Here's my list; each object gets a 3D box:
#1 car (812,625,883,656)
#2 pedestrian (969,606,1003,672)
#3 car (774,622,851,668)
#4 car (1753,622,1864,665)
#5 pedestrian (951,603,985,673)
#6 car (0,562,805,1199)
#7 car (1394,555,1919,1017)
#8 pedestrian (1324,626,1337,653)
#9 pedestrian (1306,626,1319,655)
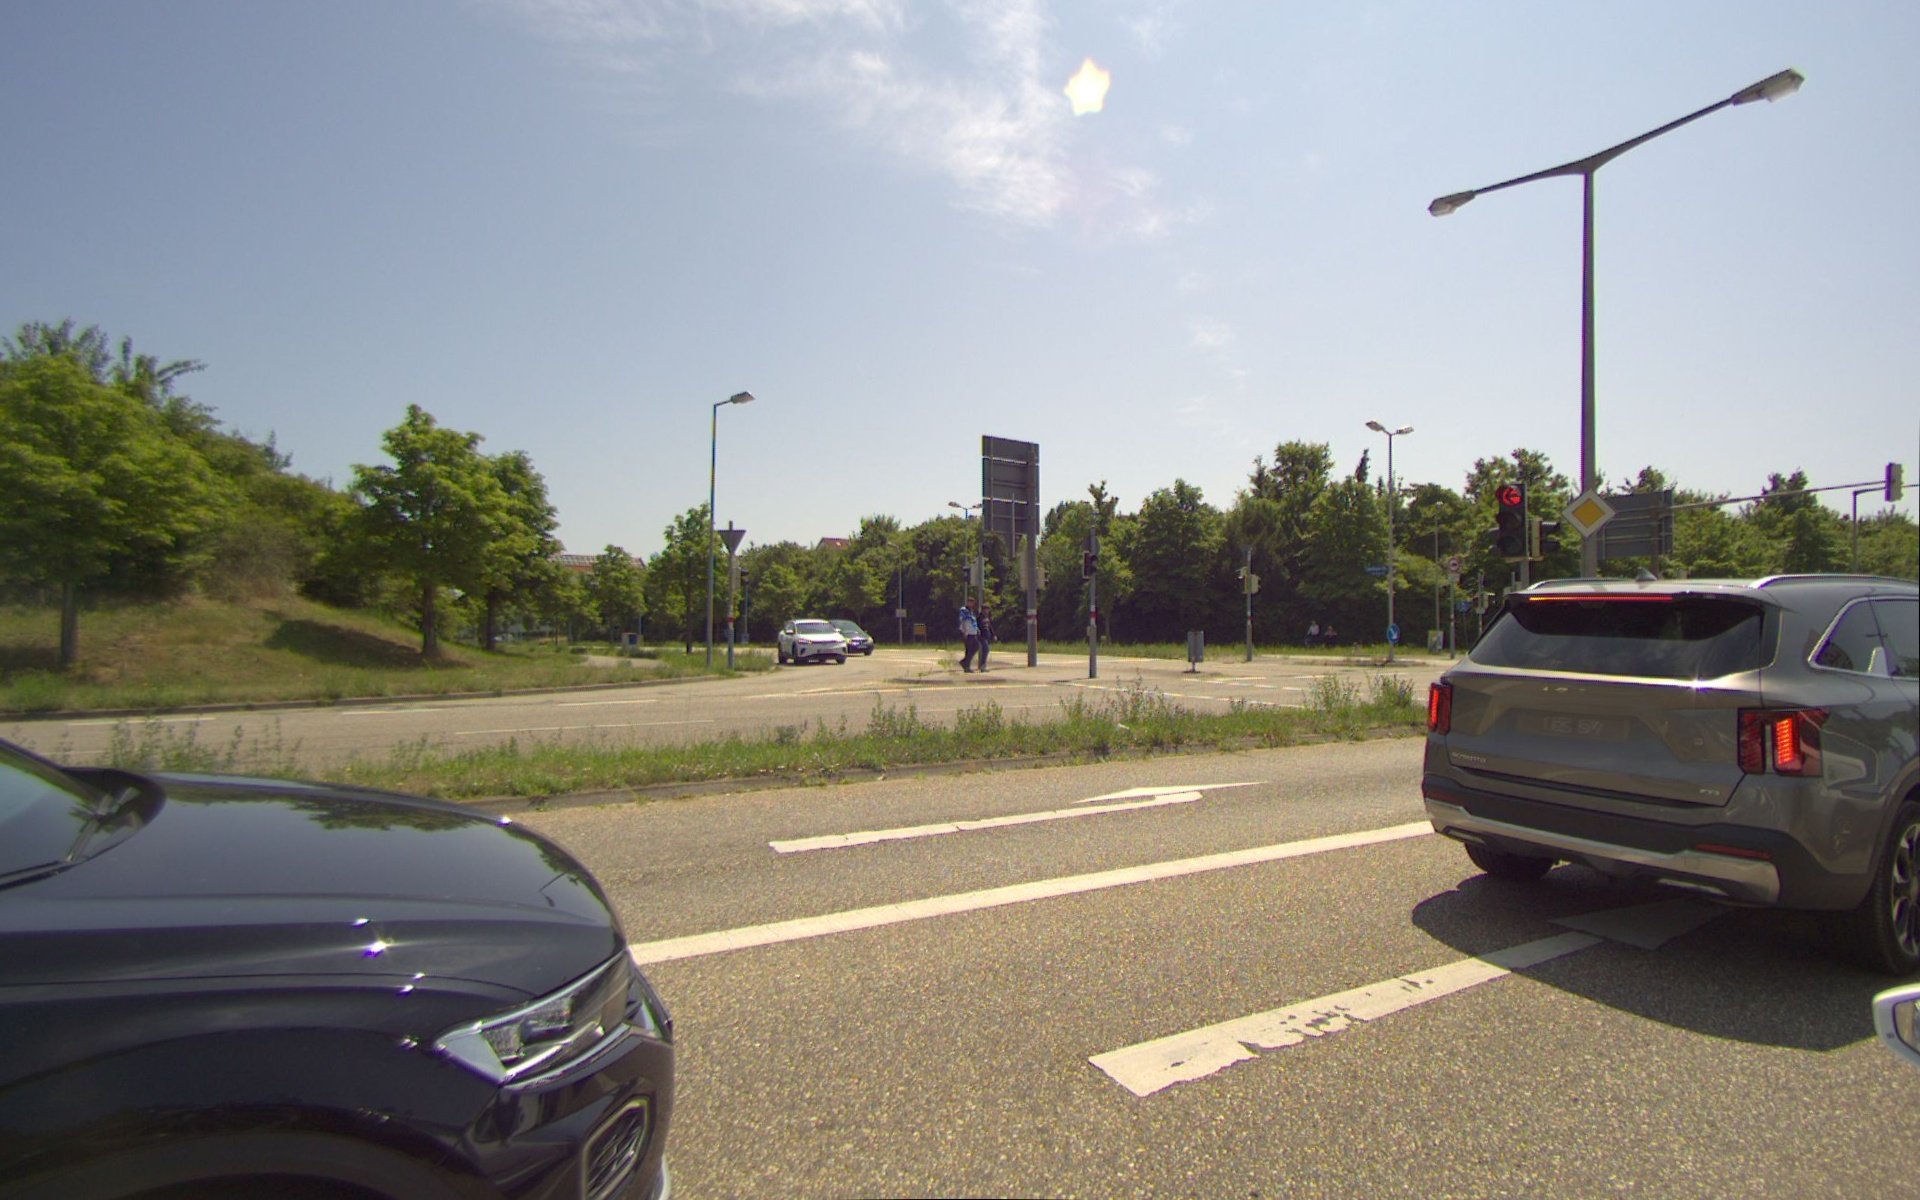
[{"bbox_3d":[-5.207,1.838,46.043,1.685,1.353,3.964,1,-2,-33],"label":"car"},{"bbox_3d":[0.677,1.030,26.515,0.761,1.722,0.723,0,-1,-11],"label":"pedestrian"},{"bbox_3d":[-5.498,1.603,37.010,1.851,1.522,4.289,-2,-1,-21],"label":"car"},{"bbox_3d":[30.629,1.547,36.229,4.119,1.475,1.814,1,-1,-30],"label":"car"},{"bbox_3d":[0.208,0.964,25.777,0.779,1.759,0.582,0,-1,-11],"label":"pedestrian"},{"bbox_3d":[-2.394,0.687,1.449,3.924,1.532,1.726,2,0,-30],"label":"car"},{"bbox_3d":[4.679,0.738,5.617,4.590,1.684,1.795,1,-1,-30],"label":"car"},{"bbox_3d":[20.589,2.190,55.791,0.606,1.523,0.798,0,-1,24],"label":"pedestrian"},{"bbox_3d":[19.722,2.253,56.243,0.606,1.624,0.798,-1,-1,24],"label":"pedestrian"}]
